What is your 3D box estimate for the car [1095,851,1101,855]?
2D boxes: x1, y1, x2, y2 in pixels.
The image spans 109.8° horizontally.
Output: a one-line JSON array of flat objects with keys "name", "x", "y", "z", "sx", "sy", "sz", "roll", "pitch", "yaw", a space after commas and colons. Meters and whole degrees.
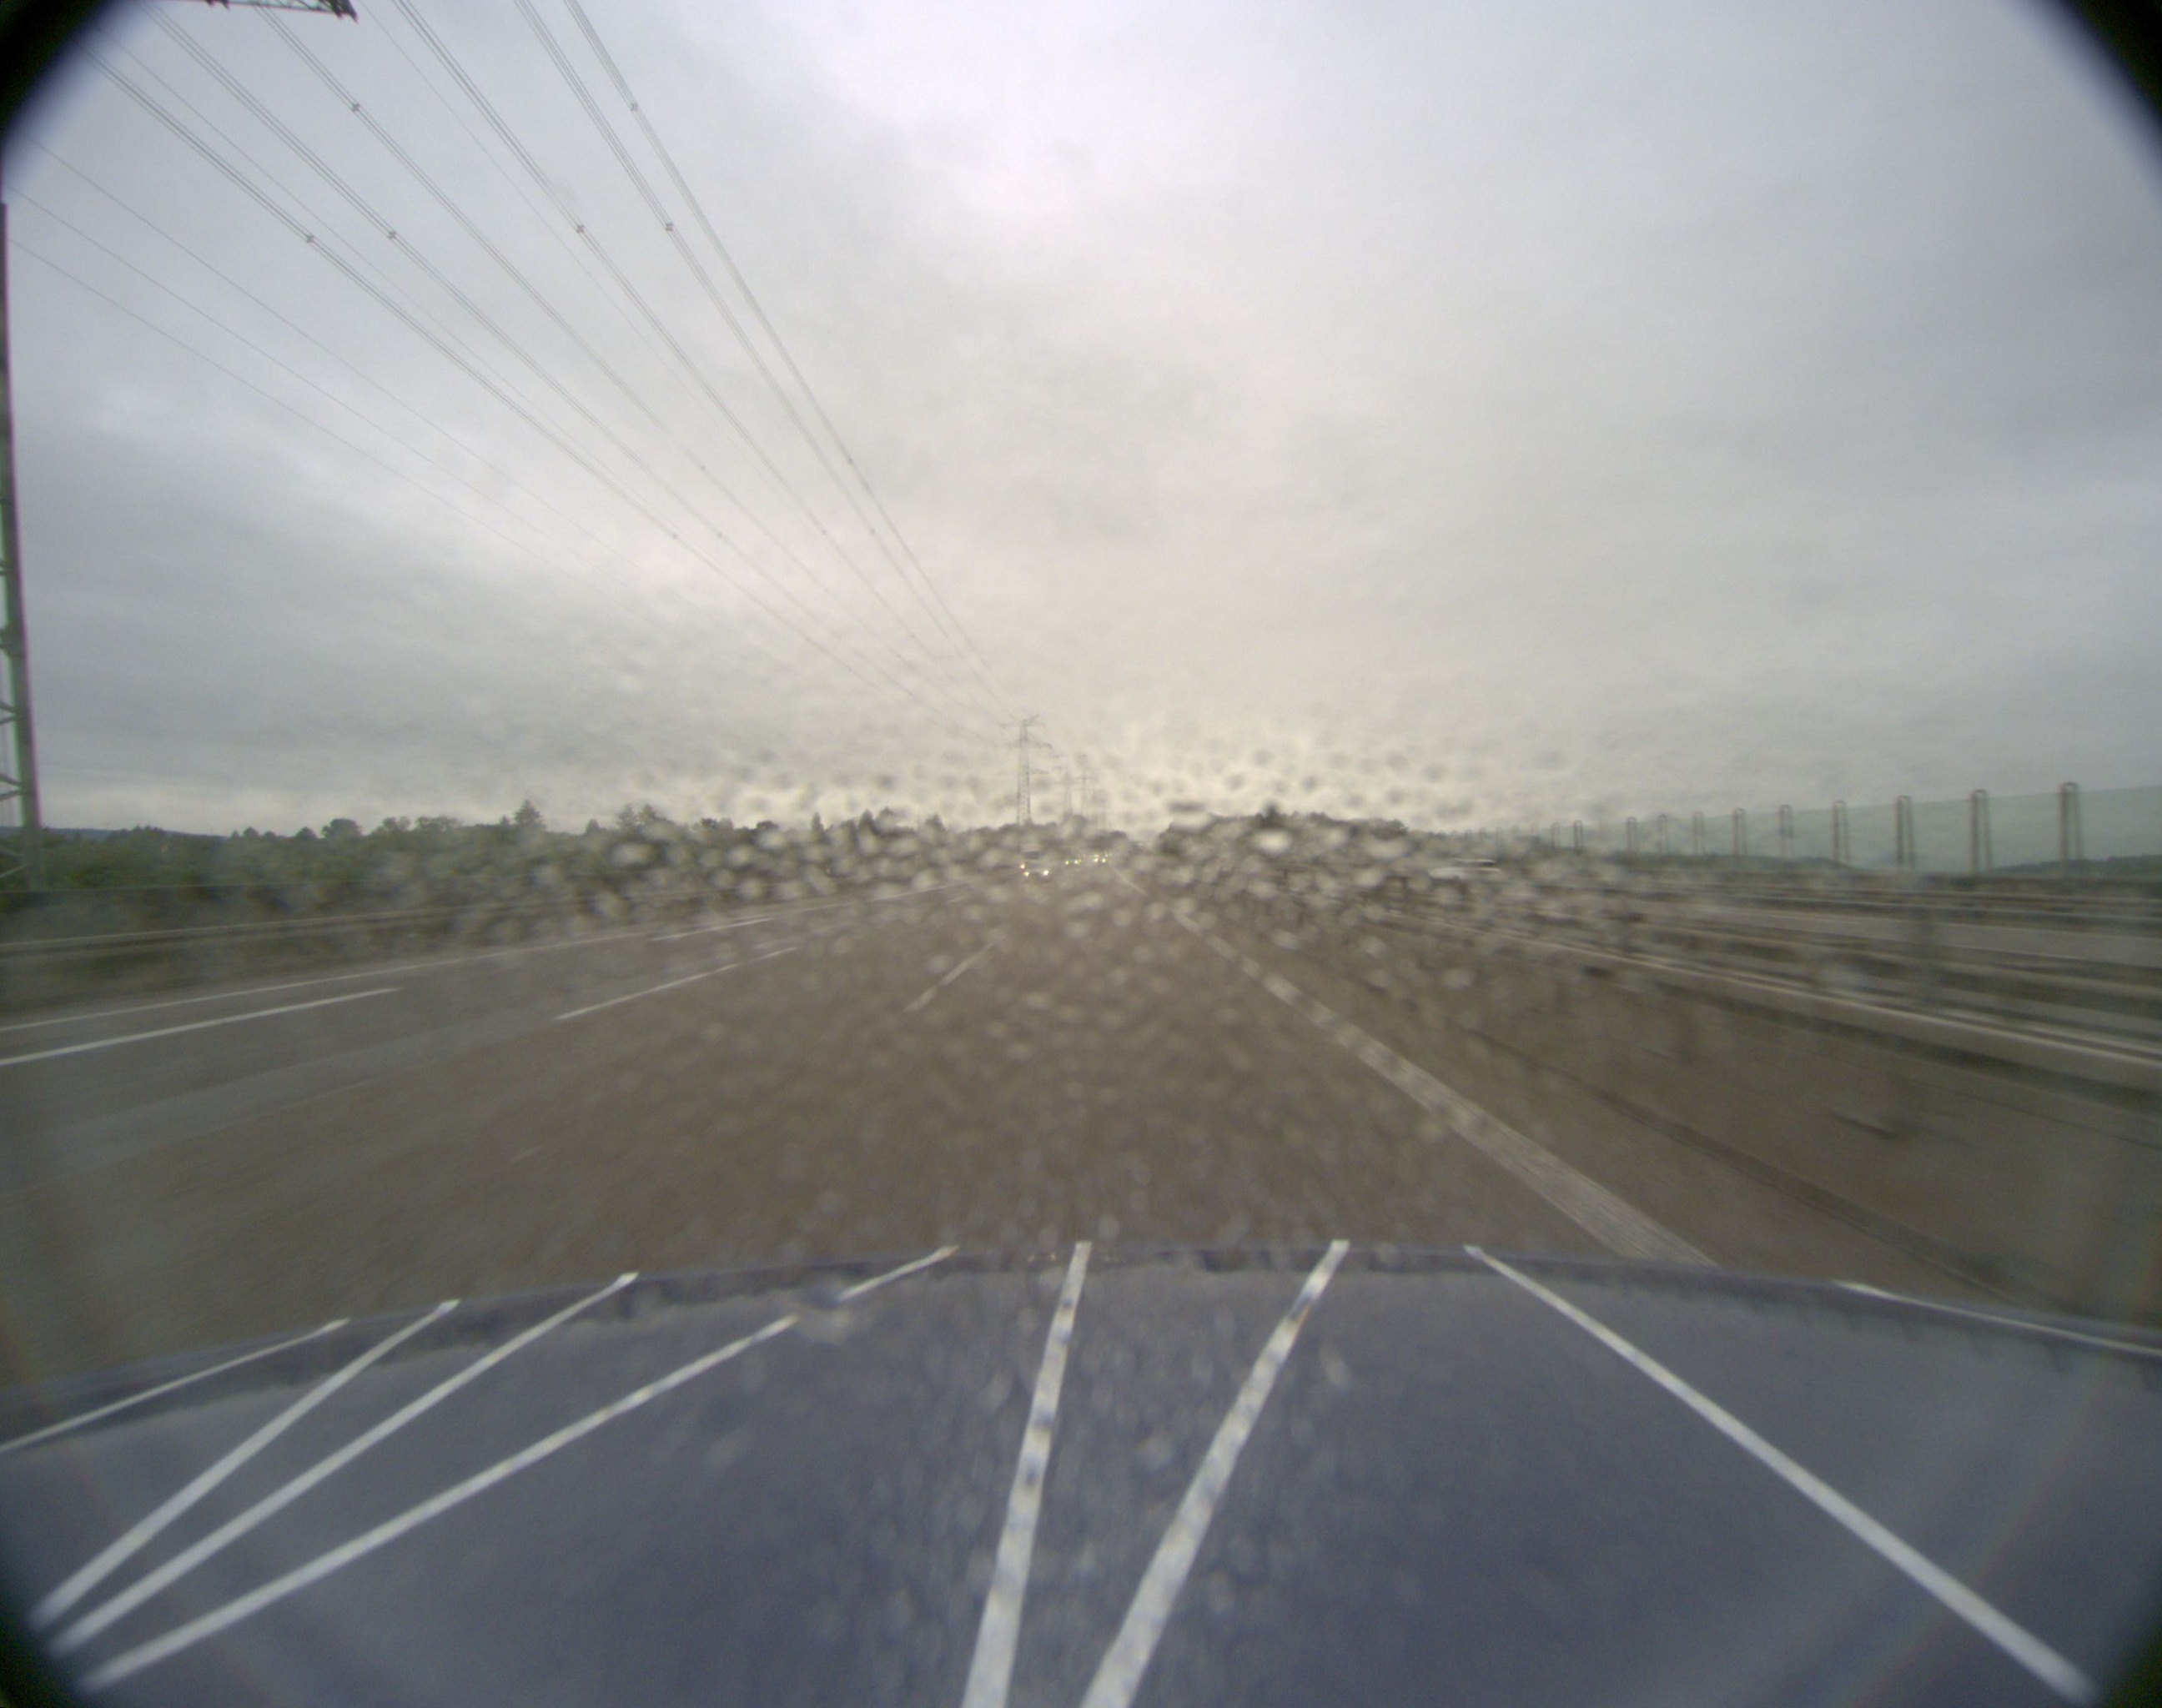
[{"name": "car", "x": 5.723, "y": -0.349, "z": 254.297, "sx": 1.998, "sy": 1.418, "sz": 4.000, "roll": -2, "pitch": 0, "yaw": 2}]

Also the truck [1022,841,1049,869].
[{"name": "truck", "x": -5.527, "y": 0.095, "z": 93.869, "sx": 2.649, "sy": 3.325, "sz": 6.931, "roll": -2, "pitch": 0, "yaw": 2}]

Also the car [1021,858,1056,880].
[{"name": "car", "x": -2.848, "y": 1.007, "z": 52.189, "sx": 1.998, "sy": 1.418, "sz": 4.000, "roll": -2, "pitch": 0, "yaw": 2}]

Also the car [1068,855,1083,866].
[{"name": "car", "x": -0.793, "y": 0.917, "z": 109.602, "sx": 1.998, "sy": 1.418, "sz": 4.000, "roll": -2, "pitch": 0, "yaw": 2}]

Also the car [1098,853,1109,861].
[{"name": "car", "x": 4.375, "y": 0.548, "z": 147.466, "sx": 1.998, "sy": 1.418, "sz": 4.000, "roll": -2, "pitch": 0, "yaw": 2}]

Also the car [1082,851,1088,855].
[{"name": "car", "x": 1.376, "y": -0.322, "z": 254.632, "sx": 1.783, "sy": 1.482, "sz": 4.000, "roll": -2, "pitch": 0, "yaw": 2}]

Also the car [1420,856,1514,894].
[{"name": "car", "x": 17.744, "y": 0.930, "z": 35.199, "sx": 1.998, "sy": 1.620, "sz": 4.713, "roll": 0, "pitch": 0, "yaw": 1}]
